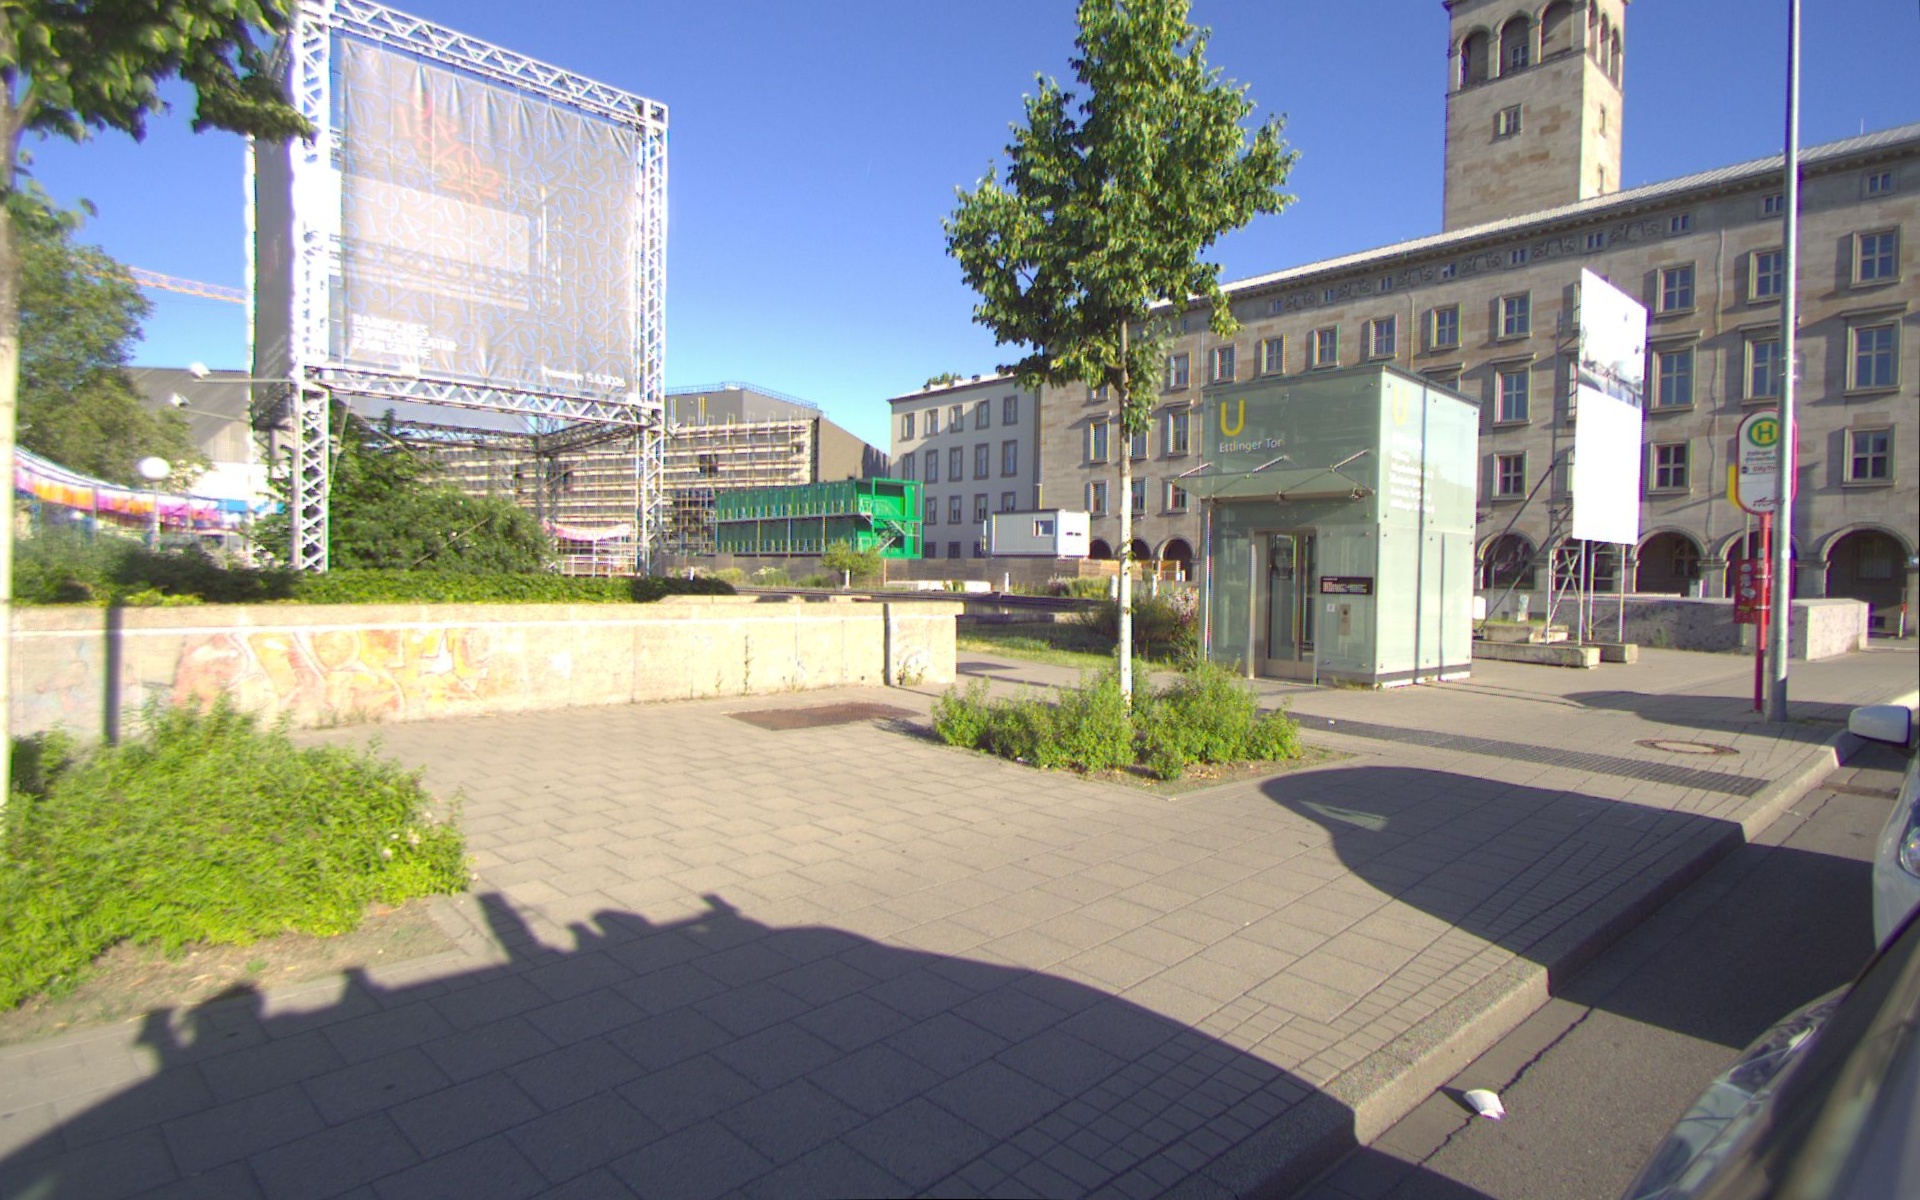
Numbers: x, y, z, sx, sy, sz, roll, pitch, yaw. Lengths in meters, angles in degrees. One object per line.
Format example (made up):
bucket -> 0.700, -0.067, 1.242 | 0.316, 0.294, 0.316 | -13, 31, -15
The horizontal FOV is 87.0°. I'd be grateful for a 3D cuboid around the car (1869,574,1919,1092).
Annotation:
car -> 4.645, 0.680, 3.664 | 3.930, 1.473, 1.518 | 0, 2, -41
